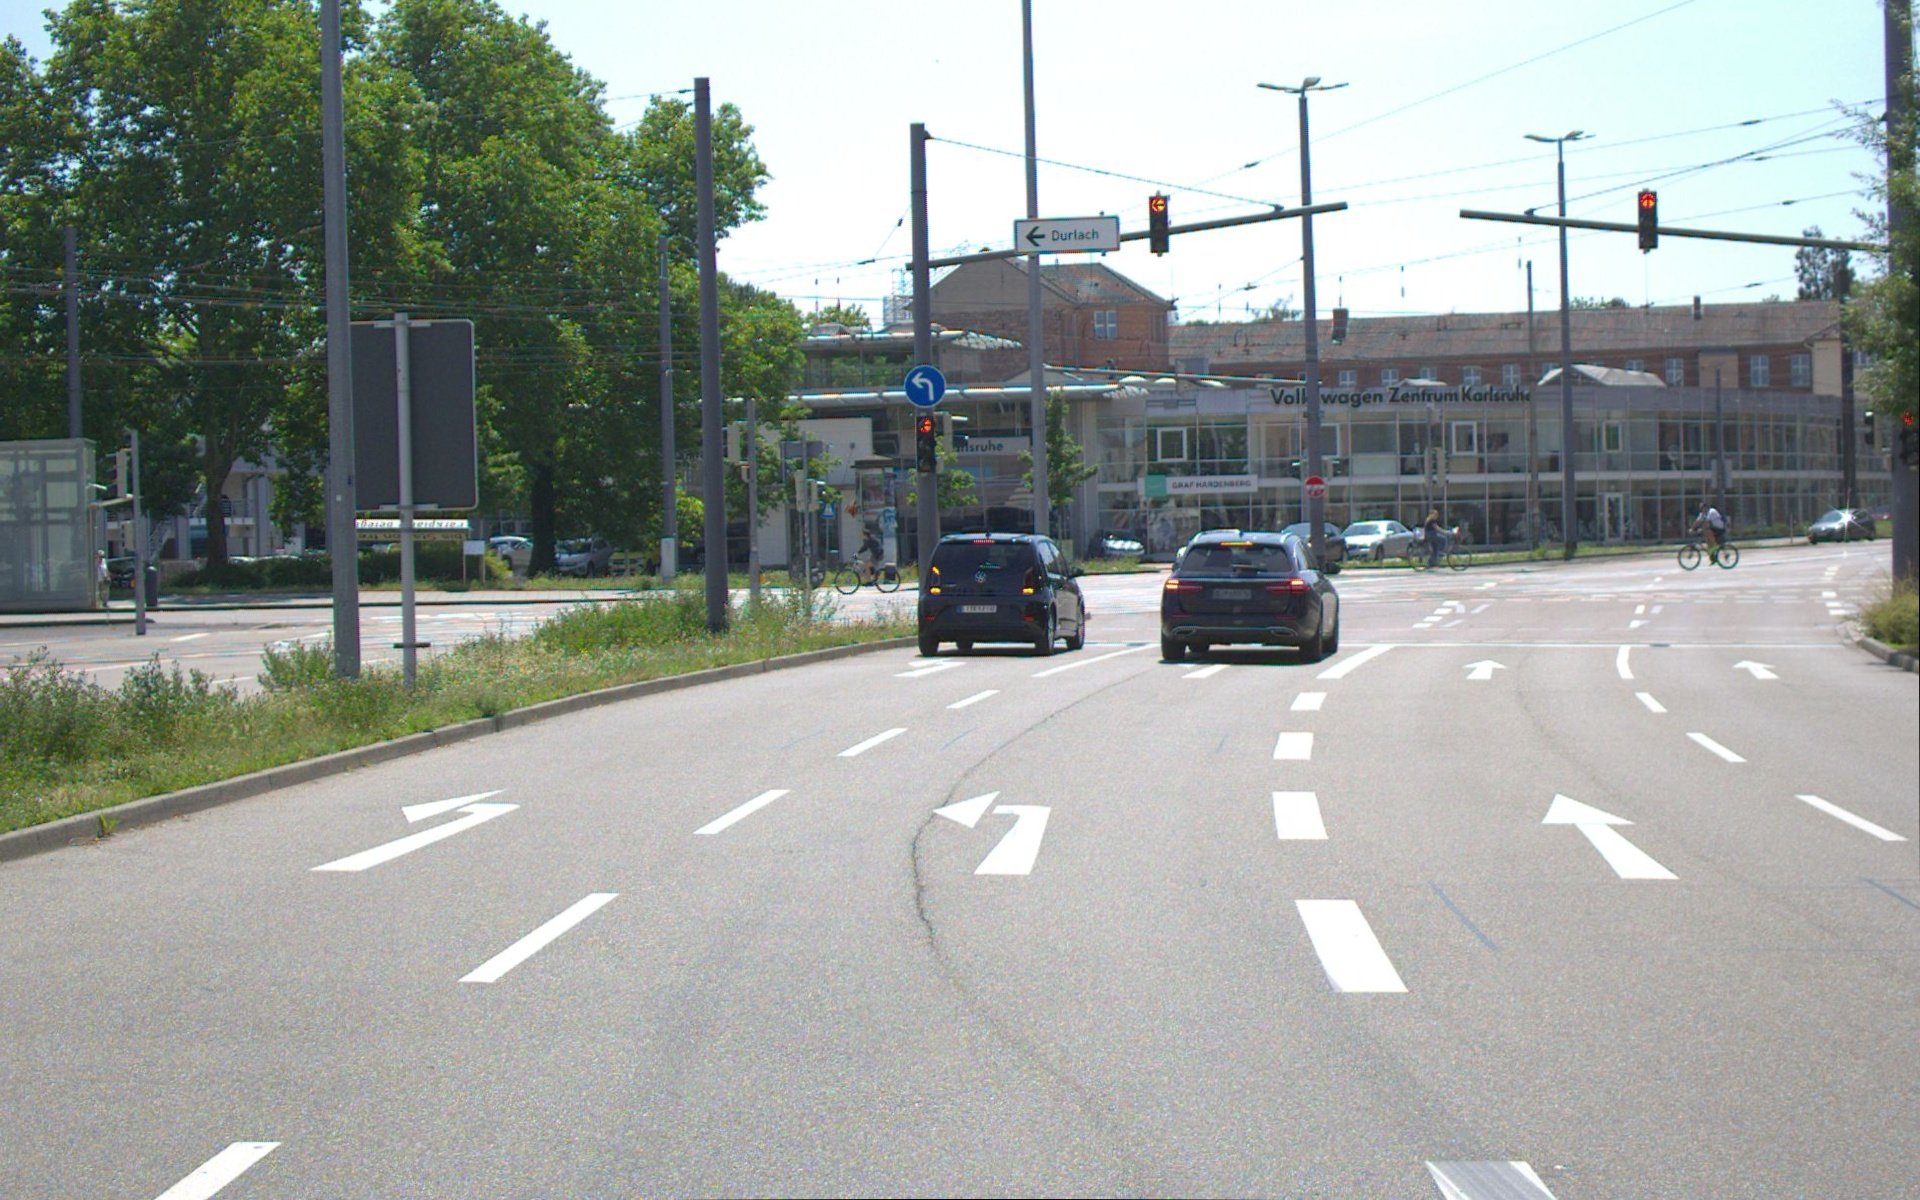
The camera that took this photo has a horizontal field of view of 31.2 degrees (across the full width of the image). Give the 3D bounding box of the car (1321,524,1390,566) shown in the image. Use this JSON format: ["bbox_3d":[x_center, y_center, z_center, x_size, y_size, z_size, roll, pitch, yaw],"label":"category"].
[{"bbox_3d":[13.445,-1.869,116.771,1.433,1.281,3.258,1,3,23],"label":"car"}]

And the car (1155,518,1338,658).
[{"bbox_3d":[3.463,-0.180,40.875,1.717,1.551,4.585,-1,1,10],"label":"car"}]

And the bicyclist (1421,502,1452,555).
[{"bbox_3d":[13.603,-2.049,98.221,0.731,1.474,0.656,-1,3,-8],"label":"bicyclist"}]

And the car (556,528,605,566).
[{"bbox_3d":[-16.331,-2.304,148.158,1.425,1.503,3.438,0,3,5],"label":"car"}]

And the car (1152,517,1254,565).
[{"bbox_3d":[7.501,-1.823,105.802,1.622,1.385,4.118,0,1,28],"label":"car"}]

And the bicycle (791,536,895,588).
[{"bbox_3d":[-3.200,-1.039,94.344,2.775,1.380,0.671,0,3,4],"label":"bicycle"}]

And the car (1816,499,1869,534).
[{"bbox_3d":[39.401,-3.739,153.489,1.573,1.422,3.608,1,4,27],"label":"car"}]

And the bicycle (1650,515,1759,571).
[{"bbox_3d":[19.887,-1.524,91.889,2.826,1.458,0.634,0,3,9],"label":"bicycle"}]

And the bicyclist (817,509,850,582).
[{"bbox_3d":[-3.471,-1.505,94.330,0.846,1.958,0.626,0,3,4],"label":"bicyclist"}]

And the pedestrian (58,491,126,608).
[{"bbox_3d":[-22.108,-1.294,87.556,1.214,2.927,1.336,0,3,8],"label":"pedestrian"}]

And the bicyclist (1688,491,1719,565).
[{"bbox_3d":[19.865,-1.923,91.871,0.763,1.931,0.660,0,3,9],"label":"bicyclist"}]

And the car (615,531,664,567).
[{"bbox_3d":[-13.706,-2.192,147.169,1.510,1.413,3.421,0,3,5],"label":"car"}]

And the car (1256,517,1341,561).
[{"bbox_3d":[10.996,-1.982,111.474,1.540,1.273,3.534,1,4,28],"label":"car"}]

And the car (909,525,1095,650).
[{"bbox_3d":[0.572,-0.183,42.549,1.622,1.458,3.998,0,1,11],"label":"car"}]

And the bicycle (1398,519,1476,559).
[{"bbox_3d":[13.615,-1.740,98.220,2.160,1.103,0.457,-1,3,-7],"label":"bicycle"}]
